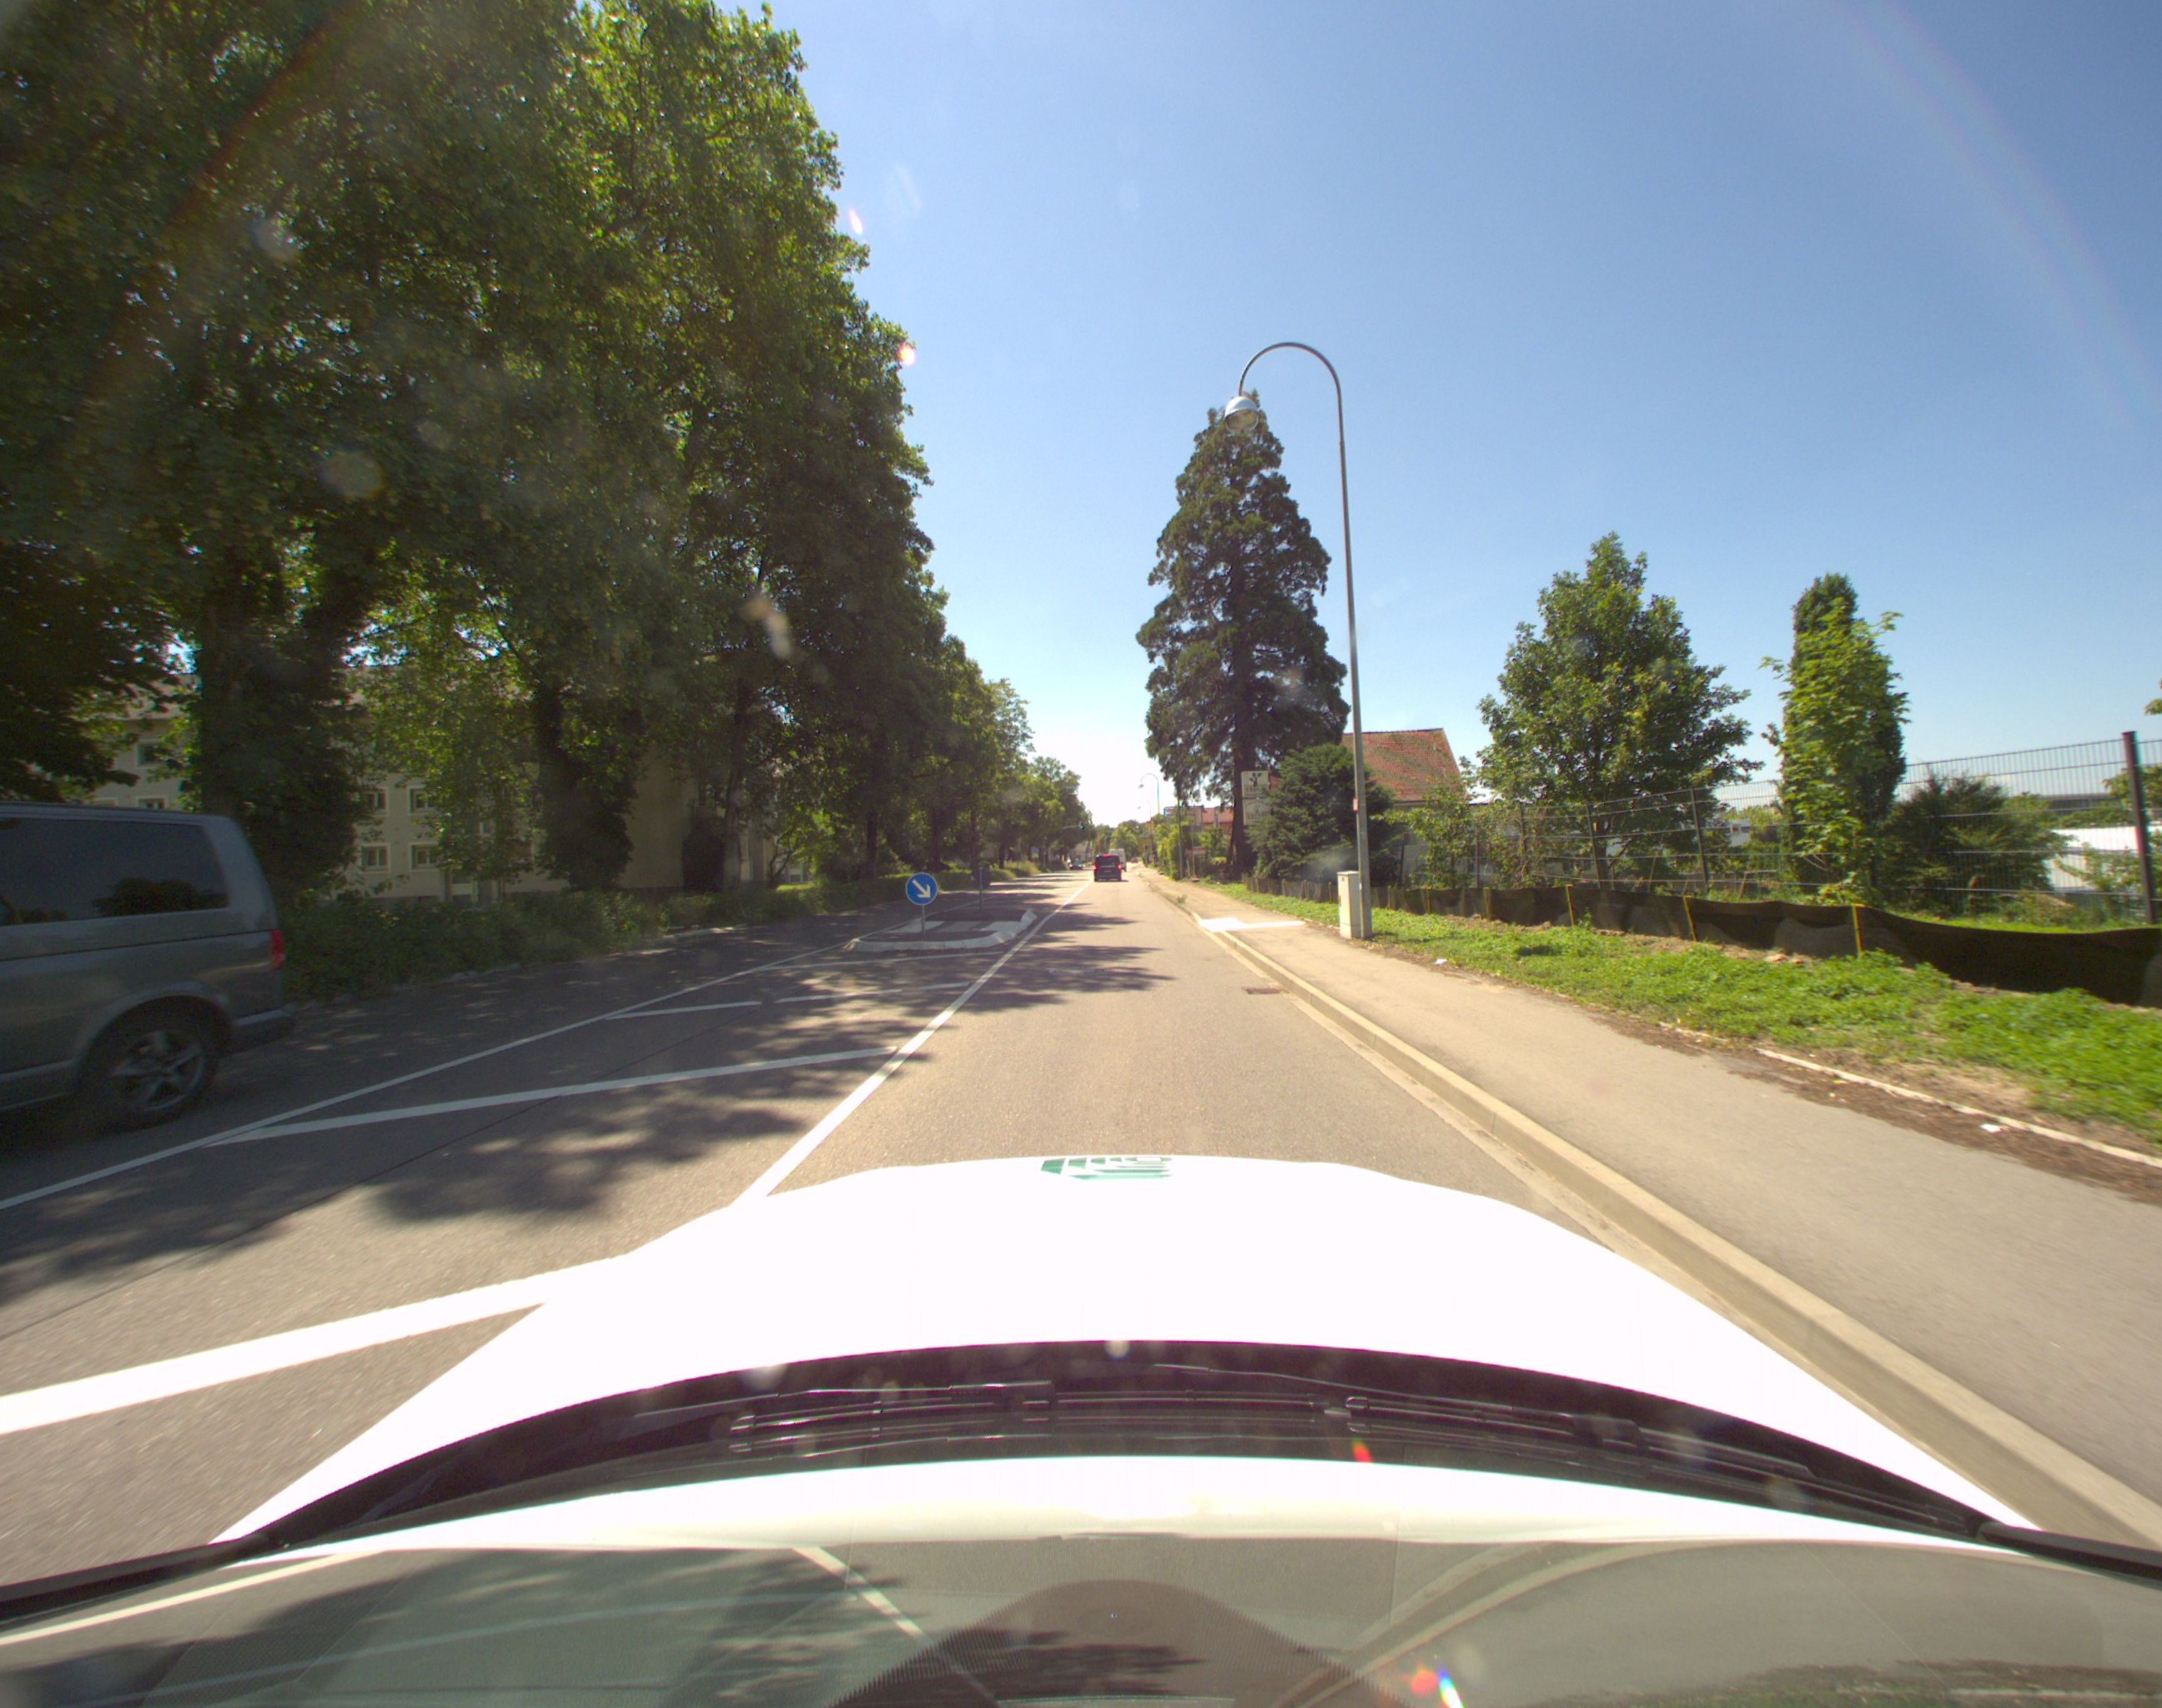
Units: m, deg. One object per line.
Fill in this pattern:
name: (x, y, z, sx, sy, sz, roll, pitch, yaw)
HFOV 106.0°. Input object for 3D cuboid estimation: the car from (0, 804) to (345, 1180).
car: (-6.493, 0.717, 3.557, 1.987, 1.910, 4.990, -1, 0, 0)

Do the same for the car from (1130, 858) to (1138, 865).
car: (14.599, 2.075, 225.617, 1.852, 1.643, 3.998, -1, 0, -1)

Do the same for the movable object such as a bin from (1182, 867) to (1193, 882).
movable object such as a bin: (6.408, 1.215, 48.883, 0.466, 0.928, 0.527, -1, -1, 36)

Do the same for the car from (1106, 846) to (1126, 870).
car: (4.037, 0.469, 93.660, 2.111, 2.678, 5.668, -1, 0, 4)

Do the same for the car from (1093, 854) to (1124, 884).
car: (1.824, 1.001, 55.668, 1.987, 1.893, 4.000, -1, 0, 0)

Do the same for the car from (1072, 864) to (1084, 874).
car: (-0.453, 2.205, 119.157, 1.716, 1.427, 4.148, -1, -1, 1)
